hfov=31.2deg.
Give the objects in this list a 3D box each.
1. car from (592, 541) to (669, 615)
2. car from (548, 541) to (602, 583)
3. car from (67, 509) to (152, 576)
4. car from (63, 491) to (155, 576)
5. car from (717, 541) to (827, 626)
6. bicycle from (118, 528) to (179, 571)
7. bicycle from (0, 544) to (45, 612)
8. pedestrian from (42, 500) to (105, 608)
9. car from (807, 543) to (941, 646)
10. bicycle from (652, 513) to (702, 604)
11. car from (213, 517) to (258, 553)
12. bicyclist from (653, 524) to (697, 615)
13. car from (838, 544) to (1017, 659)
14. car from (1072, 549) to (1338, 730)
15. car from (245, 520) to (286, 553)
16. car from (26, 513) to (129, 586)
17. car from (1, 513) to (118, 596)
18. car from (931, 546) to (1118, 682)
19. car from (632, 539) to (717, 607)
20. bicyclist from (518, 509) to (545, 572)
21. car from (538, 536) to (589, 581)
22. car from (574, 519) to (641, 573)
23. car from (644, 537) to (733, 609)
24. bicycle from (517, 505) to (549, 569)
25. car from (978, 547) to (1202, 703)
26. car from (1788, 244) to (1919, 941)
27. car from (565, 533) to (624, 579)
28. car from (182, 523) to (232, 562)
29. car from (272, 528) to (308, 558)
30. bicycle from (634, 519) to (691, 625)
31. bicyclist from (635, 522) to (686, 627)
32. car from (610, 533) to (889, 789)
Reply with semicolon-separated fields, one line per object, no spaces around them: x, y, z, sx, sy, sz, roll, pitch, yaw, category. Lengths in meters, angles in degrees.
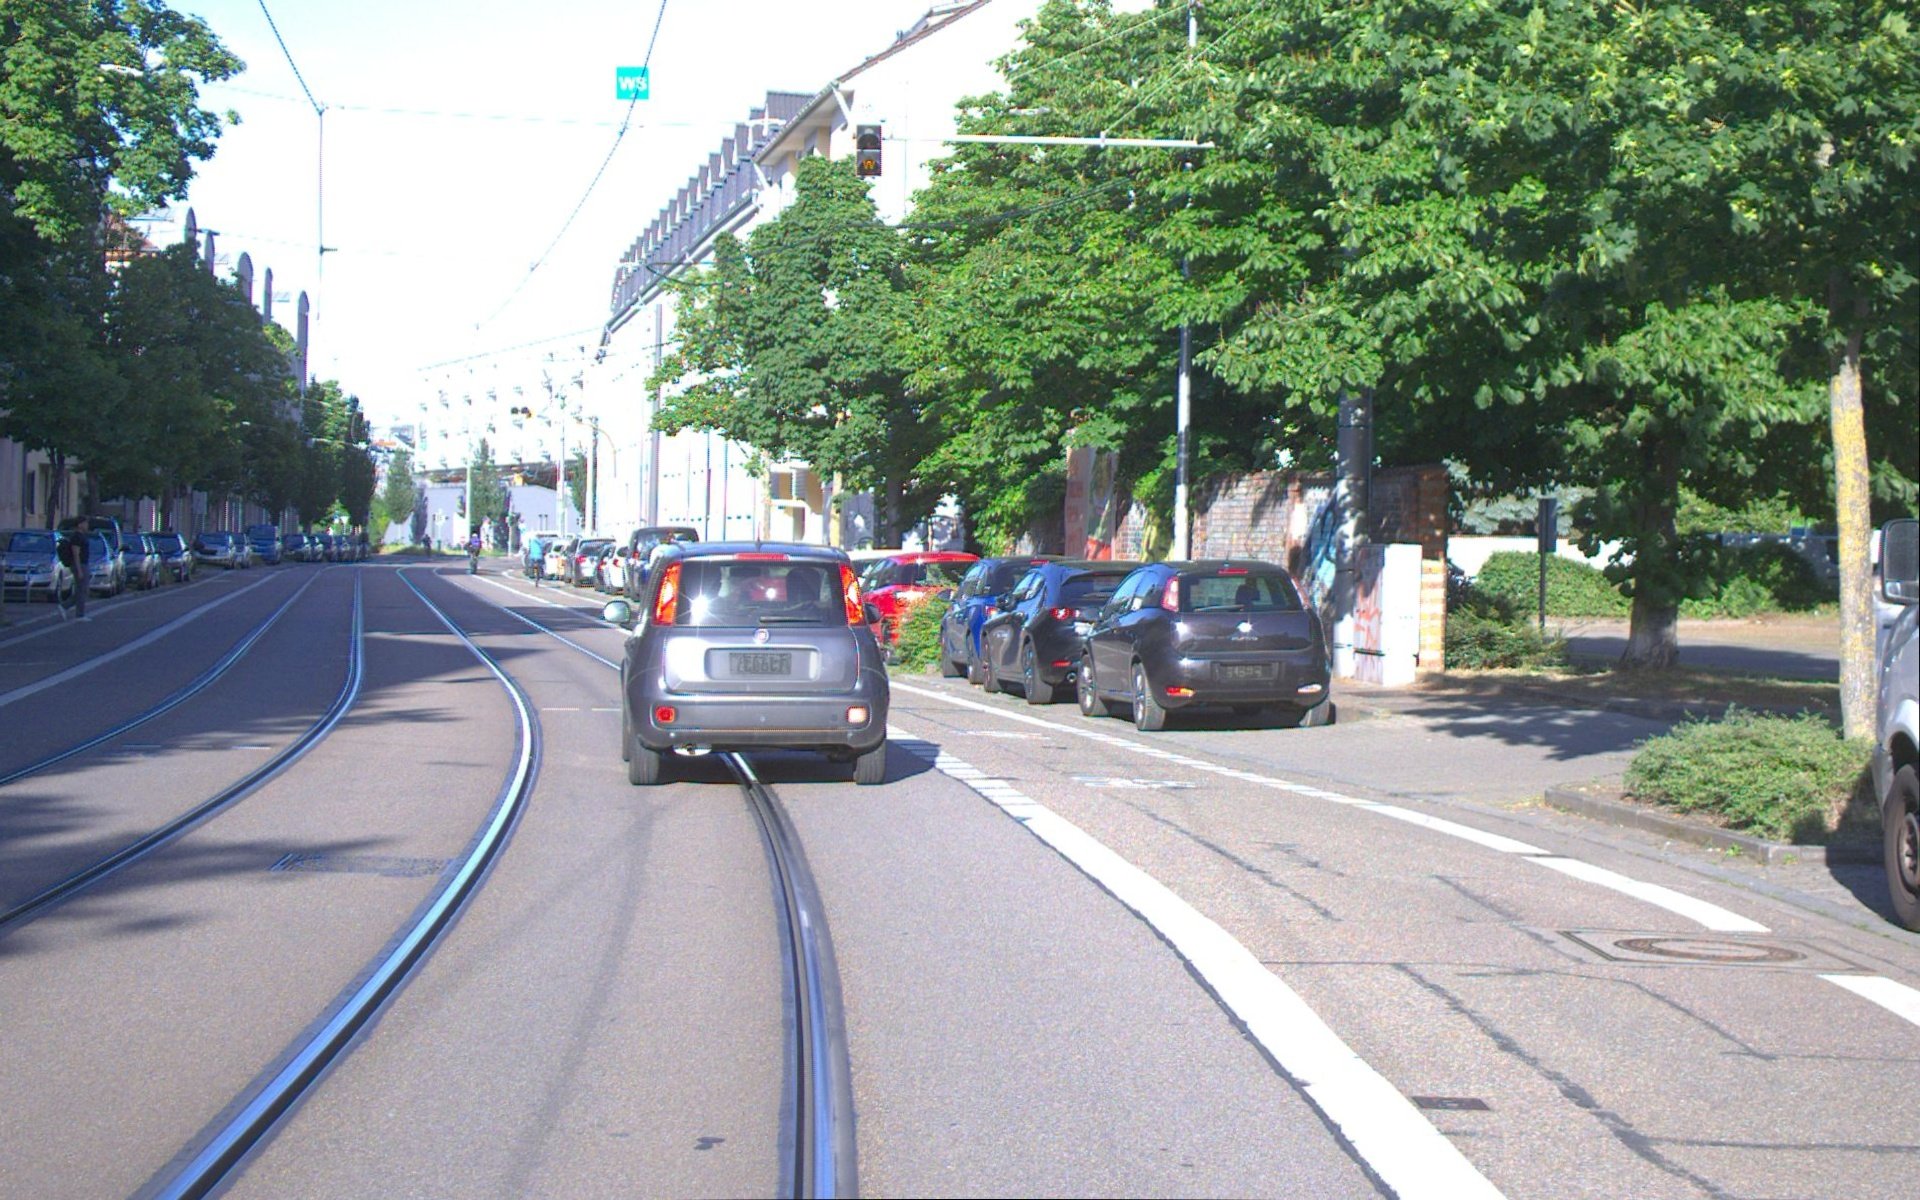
-9.218;-0.637;96.017;1.655;1.937;4.666;3;1;-10;car
-13.708;-1.367;122.263;1.582;1.400;3.377;3;1;-11;car
-22.344;-1.514;90.419;1.808;1.614;4.065;3;1;-10;car
-20.892;-1.640;84.539;1.808;1.937;4.335;3;1;-10;car
-3.485;-0.327;63.217;1.635;1.503;3.398;-1;1;-10;car
-24.295;-1.499;102.941;1.728;1.192;0.373;3;0;-13;bicycle
-15.453;-0.379;54.165;1.924;1.042;0.476;3;0;-8;bicycle
-14.765;-0.773;57.255;0.849;1.770;0.735;0;2;-29;pedestrian
-1.360;-0.111;52.961;1.688;1.525;4.001;0;1;-7;car
-5.588;-0.829;67.767;0.675;1.741;2.158;3;1;-11;bicycle
-32.475;-2.911;154.209;1.706;1.491;3.723;3;1;-9;car
-5.626;-0.599;67.831;0.699;1.753;0.758;3;0;-11;bicyclist
-0.498;-0.010;47.685;1.688;1.525;4.001;0;1;-12;car
2.153;0.306;31.273;1.688;1.525;4.001;0;1;-7;car
-33.940;-3.099;168.055;1.706;1.491;3.723;3;1;-9;car
-19.871;-1.140;77.539;1.808;1.503;4.682;3;1;-10;car
-17.713;-0.911;67.762;1.808;1.503;4.192;3;1;-10;car
0.713;0.132;40.799;1.688;1.525;4.001;0;1;-7;car
-7.124;-0.681;85.401;1.655;1.566;3.877;3;1;-10;car
-13.805;-1.916;110.678;0.715;2.007;0.832;3;0;-11;bicyclist
-14.872;-1.578;128.947;1.582;1.593;3.377;3;1;-11;car
-10.428;-1.601;101.437;1.655;1.495;3.131;3;1;-10;car
-6.385;-0.643;80.713;1.655;1.566;3.500;3;1;-10;car
-13.775;-2.037;110.761;0.741;2.007;2.813;3;1;-11;bicycle
1.299;0.212;36.097;1.688;1.525;4.356;0;1;-7;car
4.771;-0.017;11.963;2.180;2.656;6.091;0;1;-1;car
-11.725;-1.414;110.185;1.582;1.400;3.377;-2;1;-11;car
-30.572;-2.332;139.660;1.706;1.491;3.723;3;1;-9;car
-35.799;-3.028;183.689;1.706;1.491;3.723;3;1;-9;car
-5.101;-0.490;58.877;0.675;1.741;2.158;3;1;-11;bicycle
-5.139;-0.448;58.934;0.699;1.753;0.758;3;0;-11;bicyclist
-1.477;0.327;22.818;1.650;1.536;4.235;0;1;-6;car
